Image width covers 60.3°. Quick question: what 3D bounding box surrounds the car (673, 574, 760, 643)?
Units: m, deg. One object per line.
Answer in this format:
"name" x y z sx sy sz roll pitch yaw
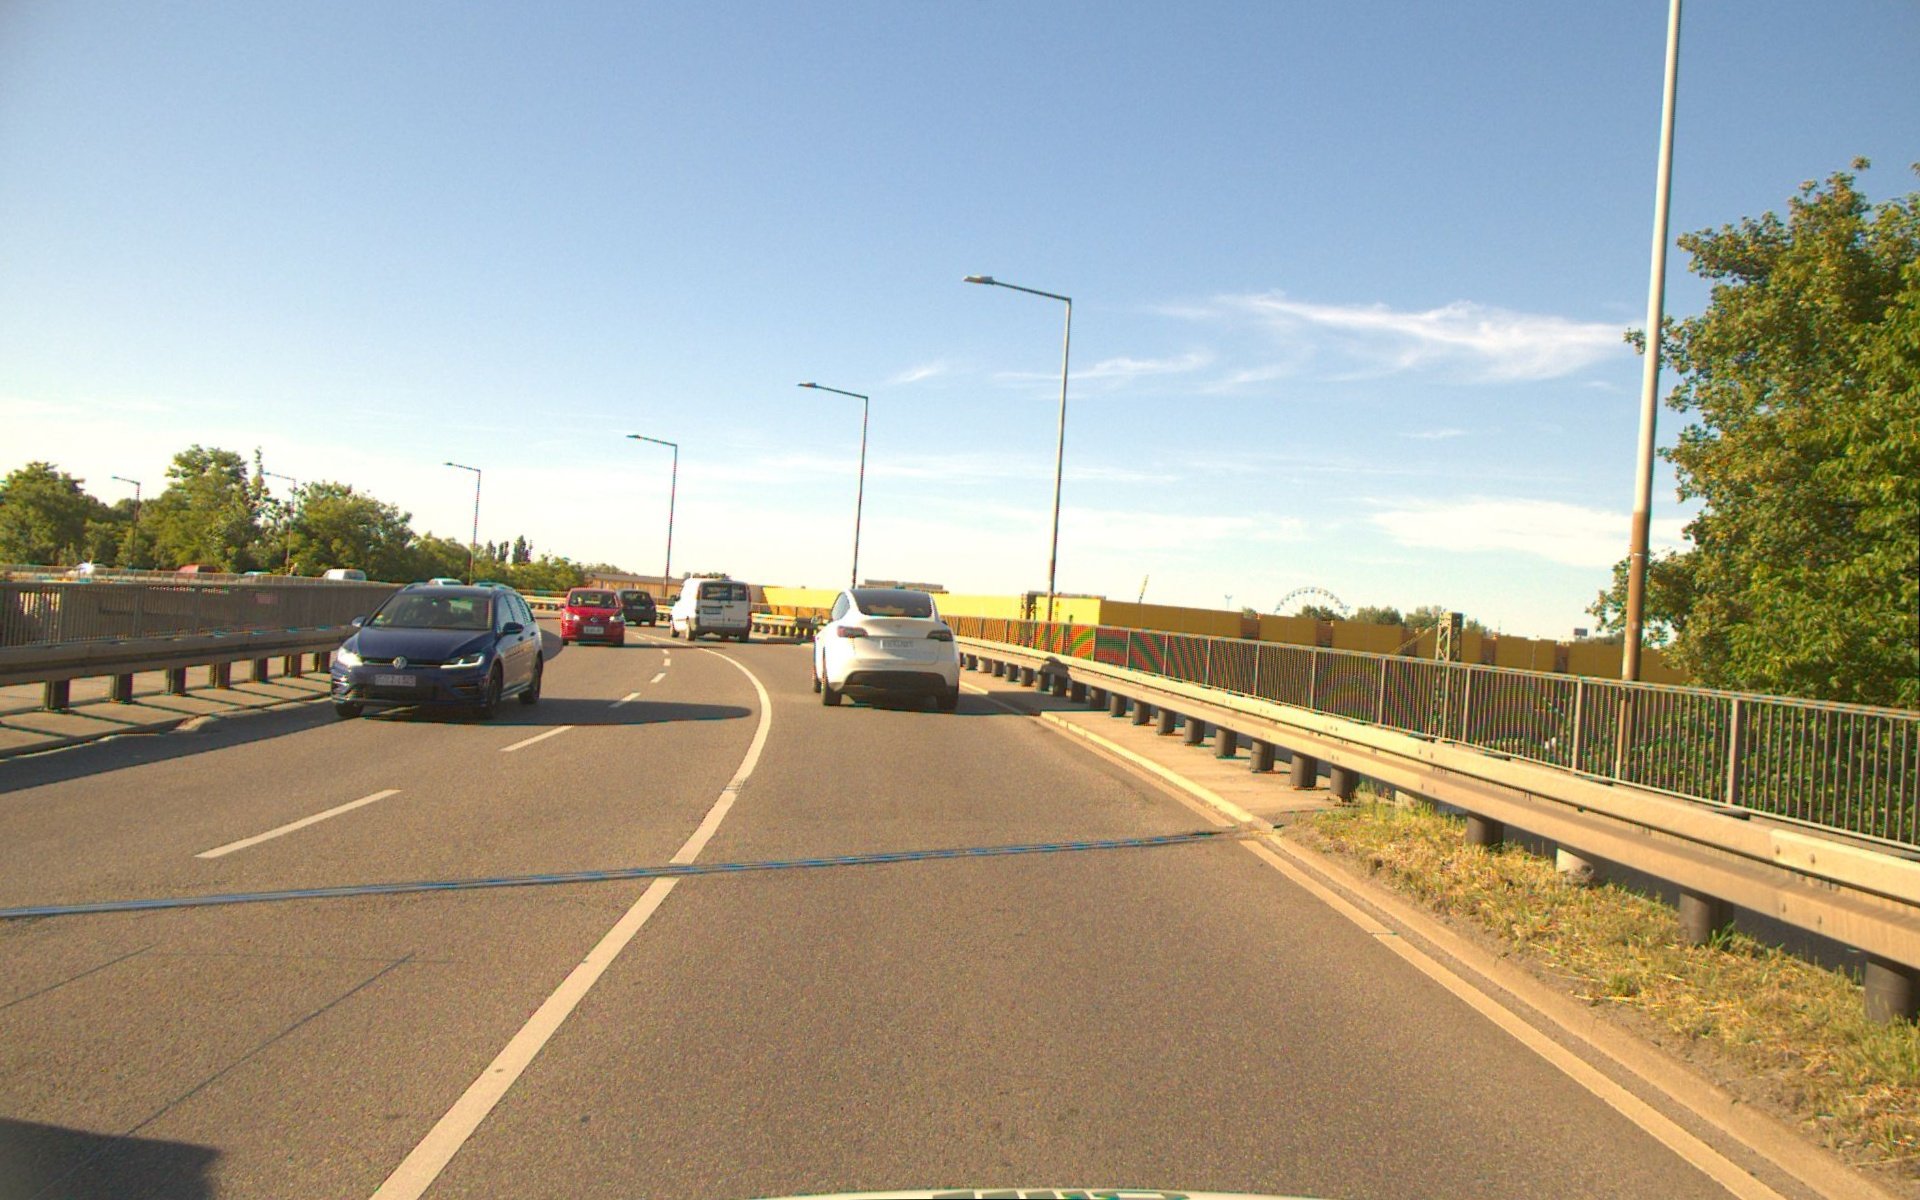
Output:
"car" -7.626 0.232 51.407 1.973 1.974 4.446 2 0 -17

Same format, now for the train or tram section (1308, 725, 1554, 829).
"train or tram section" 27.864 10.200 97.118 16.653 5.353 3.302 2 0 -31

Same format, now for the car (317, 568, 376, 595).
"car" -40.006 -1.209 107.863 3.818 1.583 1.833 2 0 38

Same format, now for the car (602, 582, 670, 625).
"car" -13.068 0.125 66.524 1.942 1.666 3.972 1 0 -23

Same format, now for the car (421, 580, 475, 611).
"car" -29.270 -0.253 94.480 1.844 1.612 3.866 2 0 -35

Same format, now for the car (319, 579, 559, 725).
"car" -6.094 0.551 19.875 1.690 1.512 4.404 2 0 -4

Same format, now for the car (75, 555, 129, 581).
"car" -69.010 -2.587 133.051 3.912 1.984 1.959 2 0 29

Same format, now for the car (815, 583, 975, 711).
"car" -1.034 0.620 23.984 1.948 1.666 4.056 1 0 -7

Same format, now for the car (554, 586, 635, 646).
"car" -9.710 0.387 43.757 1.753 1.462 3.857 2 0 -17
